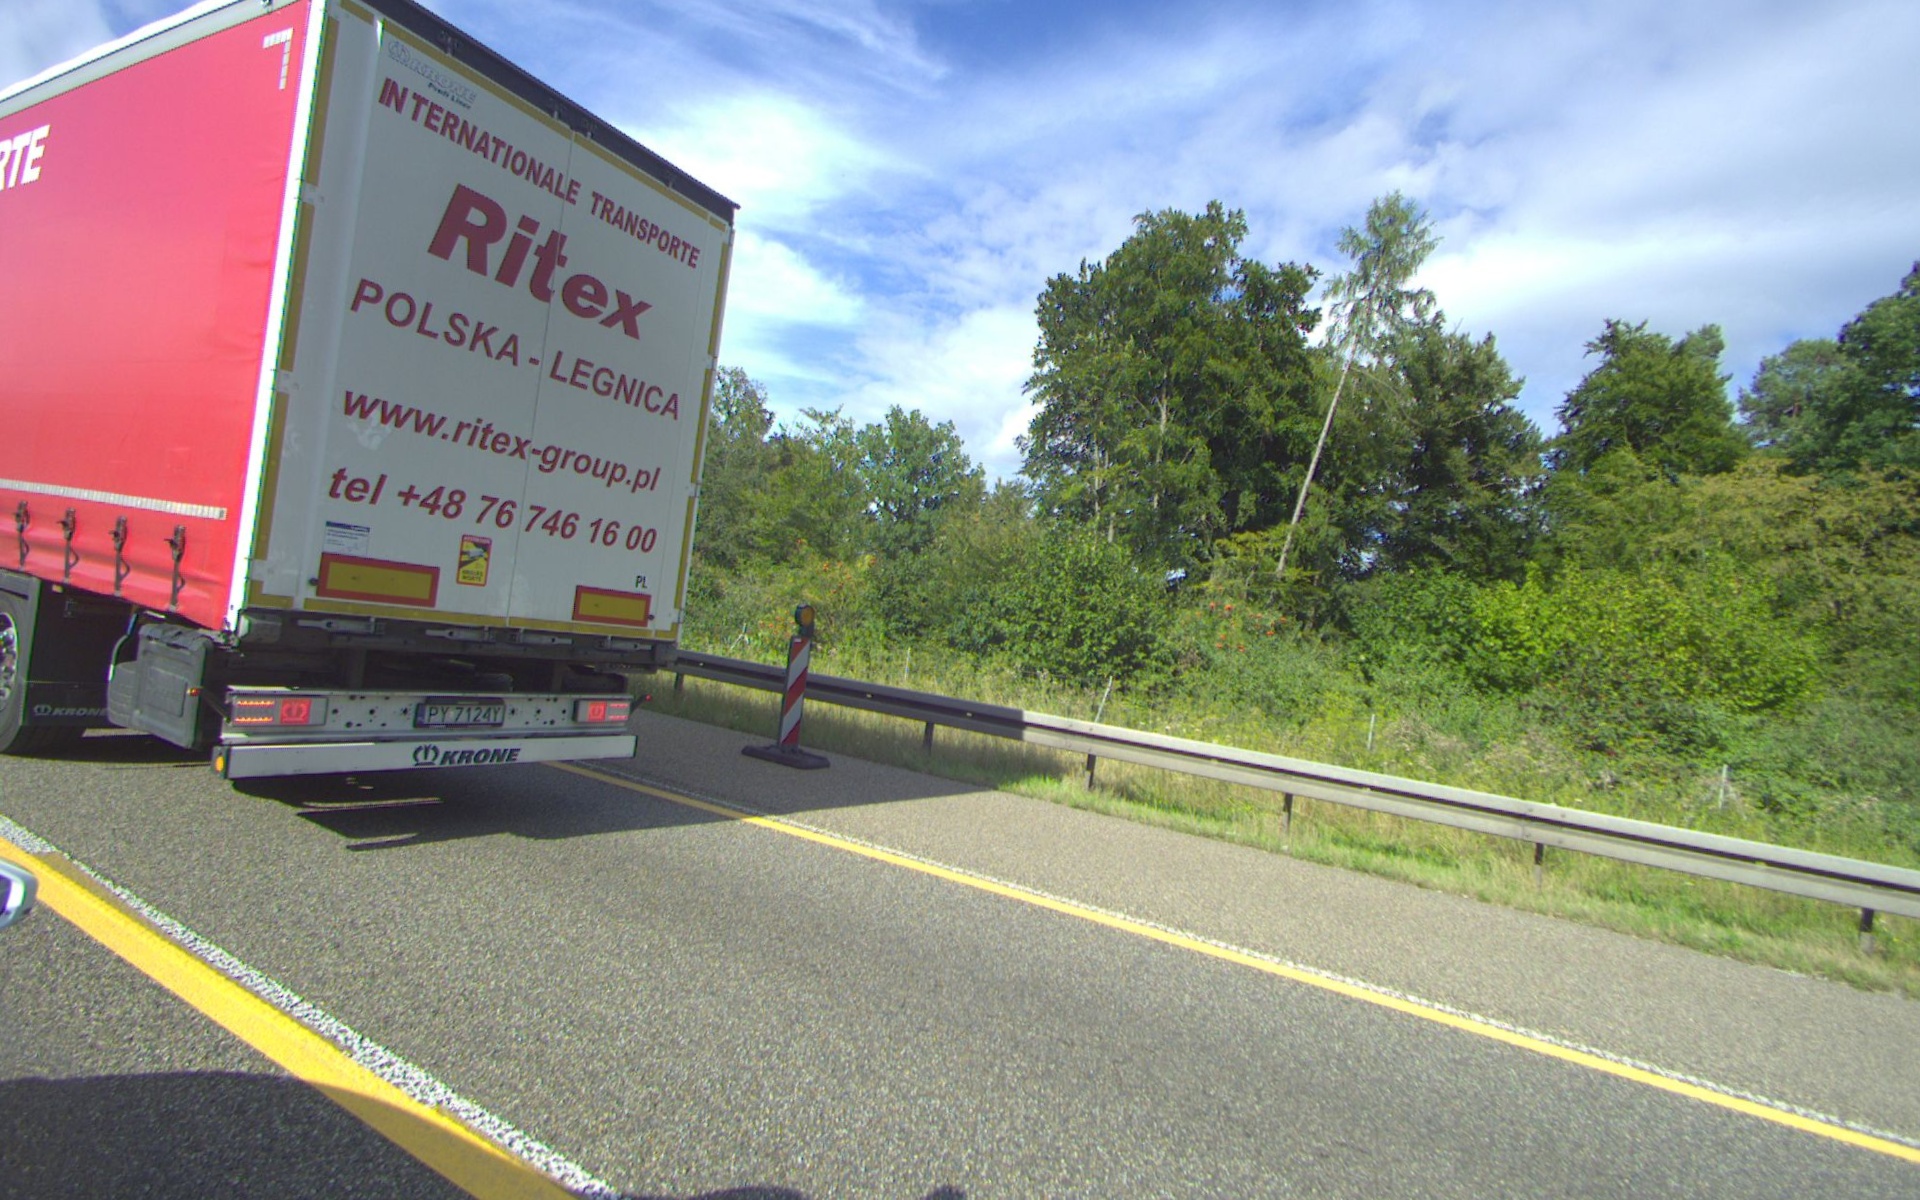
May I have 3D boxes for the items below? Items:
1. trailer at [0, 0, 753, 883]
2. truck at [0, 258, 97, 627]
[{"bbox_3d":[-7.848,-1.396,8.689,13.192,4.016,2.704,7,0,31],"label":"trailer"},{"bbox_3d":[-13.362,-2.073,12.050,5.615,4.008,2.672,7,0,31],"label":"truck"}]
